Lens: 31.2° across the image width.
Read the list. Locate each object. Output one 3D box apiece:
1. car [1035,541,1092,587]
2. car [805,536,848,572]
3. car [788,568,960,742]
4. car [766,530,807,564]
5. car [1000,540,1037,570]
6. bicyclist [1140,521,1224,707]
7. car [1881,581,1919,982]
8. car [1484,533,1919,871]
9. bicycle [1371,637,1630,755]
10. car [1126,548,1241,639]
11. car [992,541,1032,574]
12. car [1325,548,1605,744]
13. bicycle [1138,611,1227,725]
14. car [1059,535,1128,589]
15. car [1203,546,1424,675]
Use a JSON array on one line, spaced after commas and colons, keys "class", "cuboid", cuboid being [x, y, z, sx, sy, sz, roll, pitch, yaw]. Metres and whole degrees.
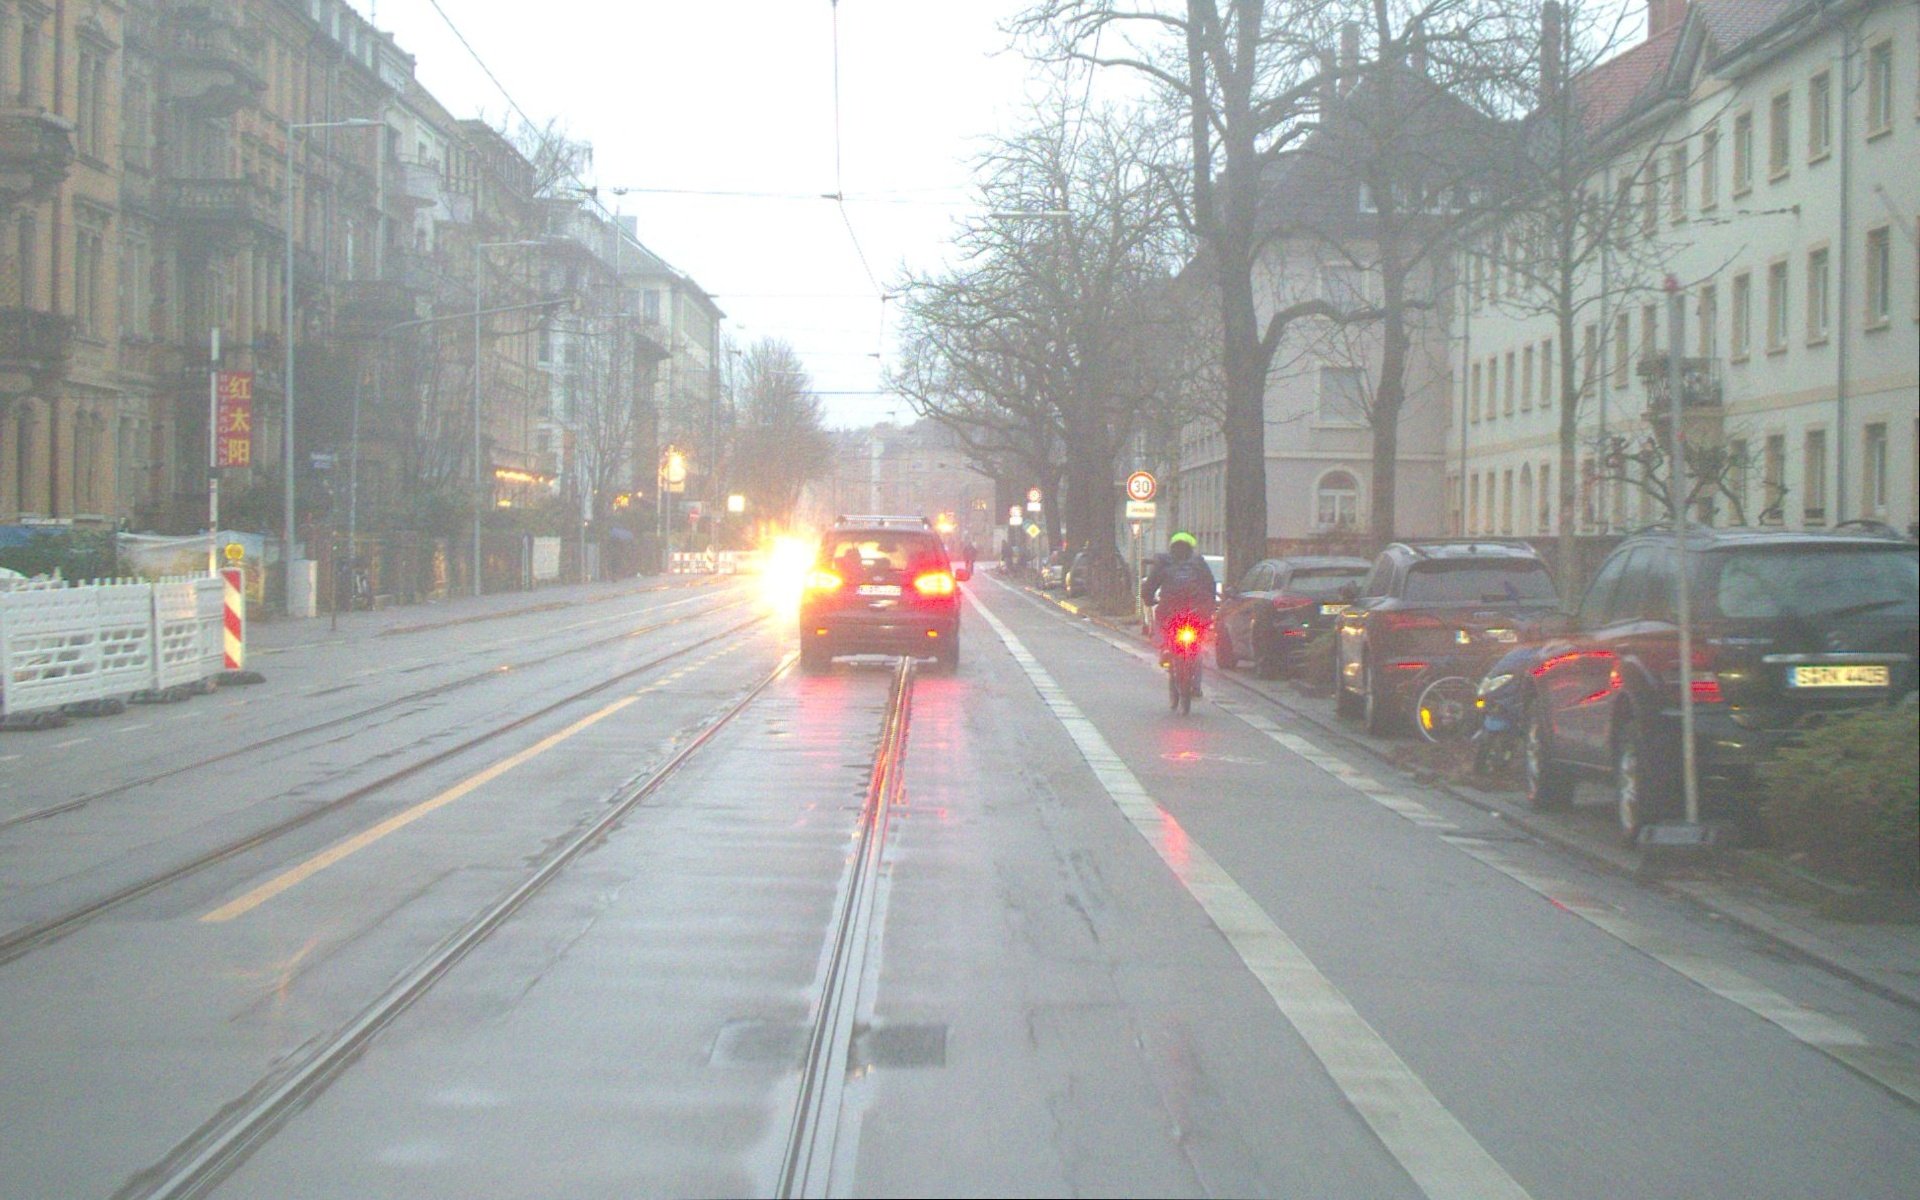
[{"class": "car", "cuboid": [3.469, -1.220, 116.006, 1.785, 1.504, 4.109, 0, 1, 0]}, {"class": "car", "cuboid": [-6.249, -2.155, 161.124, 1.923, 1.656, 4.000, 0, 1, -1]}, {"class": "car", "cuboid": [-0.986, 0.609, 41.305, 1.802, 1.864, 4.018, 3, 1, 1]}, {"class": "car", "cuboid": [-8.965, -2.747, 177.866, 1.923, 1.714, 4.000, 0, 1, -1]}, {"class": "car", "cuboid": [2.985, -2.290, 174.864, 1.785, 1.504, 4.109, 0, 1, 0]}, {"class": "bicyclist", "cuboid": [2.085, 0.124, 32.375, 0.730, 1.730, 0.765, 1, 1, 1]}, {"class": "car", "cuboid": [4.536, 0.716, 11.457, 1.785, 1.504, 3.988, 0, 1, -1]}, {"class": "car", "cuboid": [4.426, 0.477, 20.032, 1.905, 1.721, 4.903, 0, 1, -1]}, {"class": "bicycle", "cuboid": [4.313, 0.769, 27.478, 2.014, 0.913, 0.464, 0, 1, 9]}, {"class": "car", "cuboid": [3.870, -0.140, 60.131, 1.785, 1.504, 4.108, 0, 1, 1]}, {"class": "car", "cuboid": [2.410, -2.014, 161.338, 1.785, 1.504, 4.109, 0, 1, 0]}, {"class": "car", "cuboid": [4.451, 0.348, 30.931, 1.905, 1.604, 4.561, 0, 1, 1]}, {"class": "bicycle", "cuboid": [2.084, 0.623, 32.407, 0.731, 1.003, 1.764, 1, 1, 1]}, {"class": "car", "cuboid": [3.774, -1.099, 97.977, 1.785, 1.504, 4.109, 0, 1, 0]}, {"class": "car", "cuboid": [4.220, 0.084, 41.725, 1.878, 1.415, 4.345, -1, 1, -5]}]
